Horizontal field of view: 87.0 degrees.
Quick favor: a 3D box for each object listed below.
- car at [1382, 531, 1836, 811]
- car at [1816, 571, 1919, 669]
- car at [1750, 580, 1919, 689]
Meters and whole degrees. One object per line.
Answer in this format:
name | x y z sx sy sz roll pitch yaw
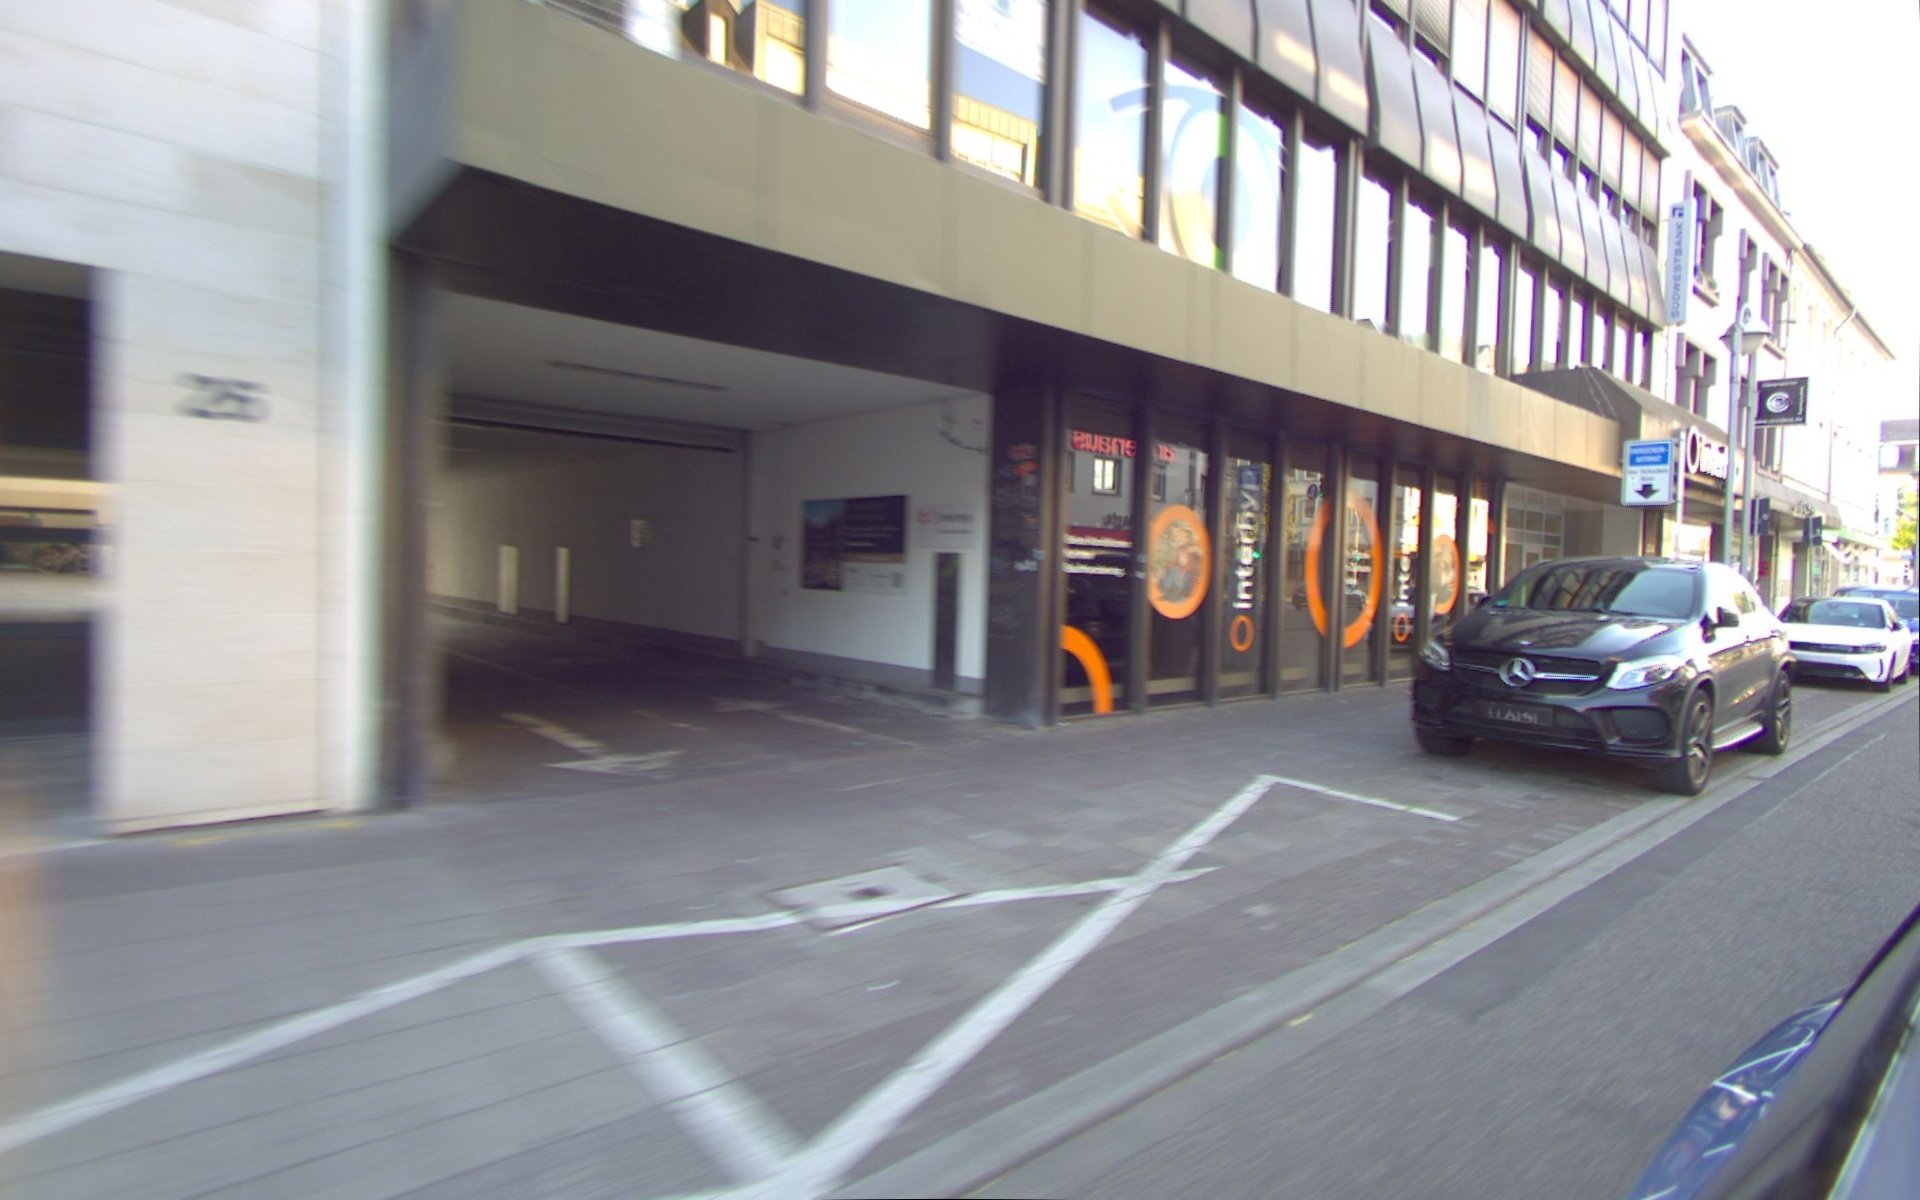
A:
car | 5.787 0.402 8.783 4.588 1.755 1.989 0 4 -41
car | 19.268 0.365 20.694 4.483 1.737 1.920 0 4 -41
car | 14.776 0.489 16.900 3.805 1.503 1.770 0 5 -42
